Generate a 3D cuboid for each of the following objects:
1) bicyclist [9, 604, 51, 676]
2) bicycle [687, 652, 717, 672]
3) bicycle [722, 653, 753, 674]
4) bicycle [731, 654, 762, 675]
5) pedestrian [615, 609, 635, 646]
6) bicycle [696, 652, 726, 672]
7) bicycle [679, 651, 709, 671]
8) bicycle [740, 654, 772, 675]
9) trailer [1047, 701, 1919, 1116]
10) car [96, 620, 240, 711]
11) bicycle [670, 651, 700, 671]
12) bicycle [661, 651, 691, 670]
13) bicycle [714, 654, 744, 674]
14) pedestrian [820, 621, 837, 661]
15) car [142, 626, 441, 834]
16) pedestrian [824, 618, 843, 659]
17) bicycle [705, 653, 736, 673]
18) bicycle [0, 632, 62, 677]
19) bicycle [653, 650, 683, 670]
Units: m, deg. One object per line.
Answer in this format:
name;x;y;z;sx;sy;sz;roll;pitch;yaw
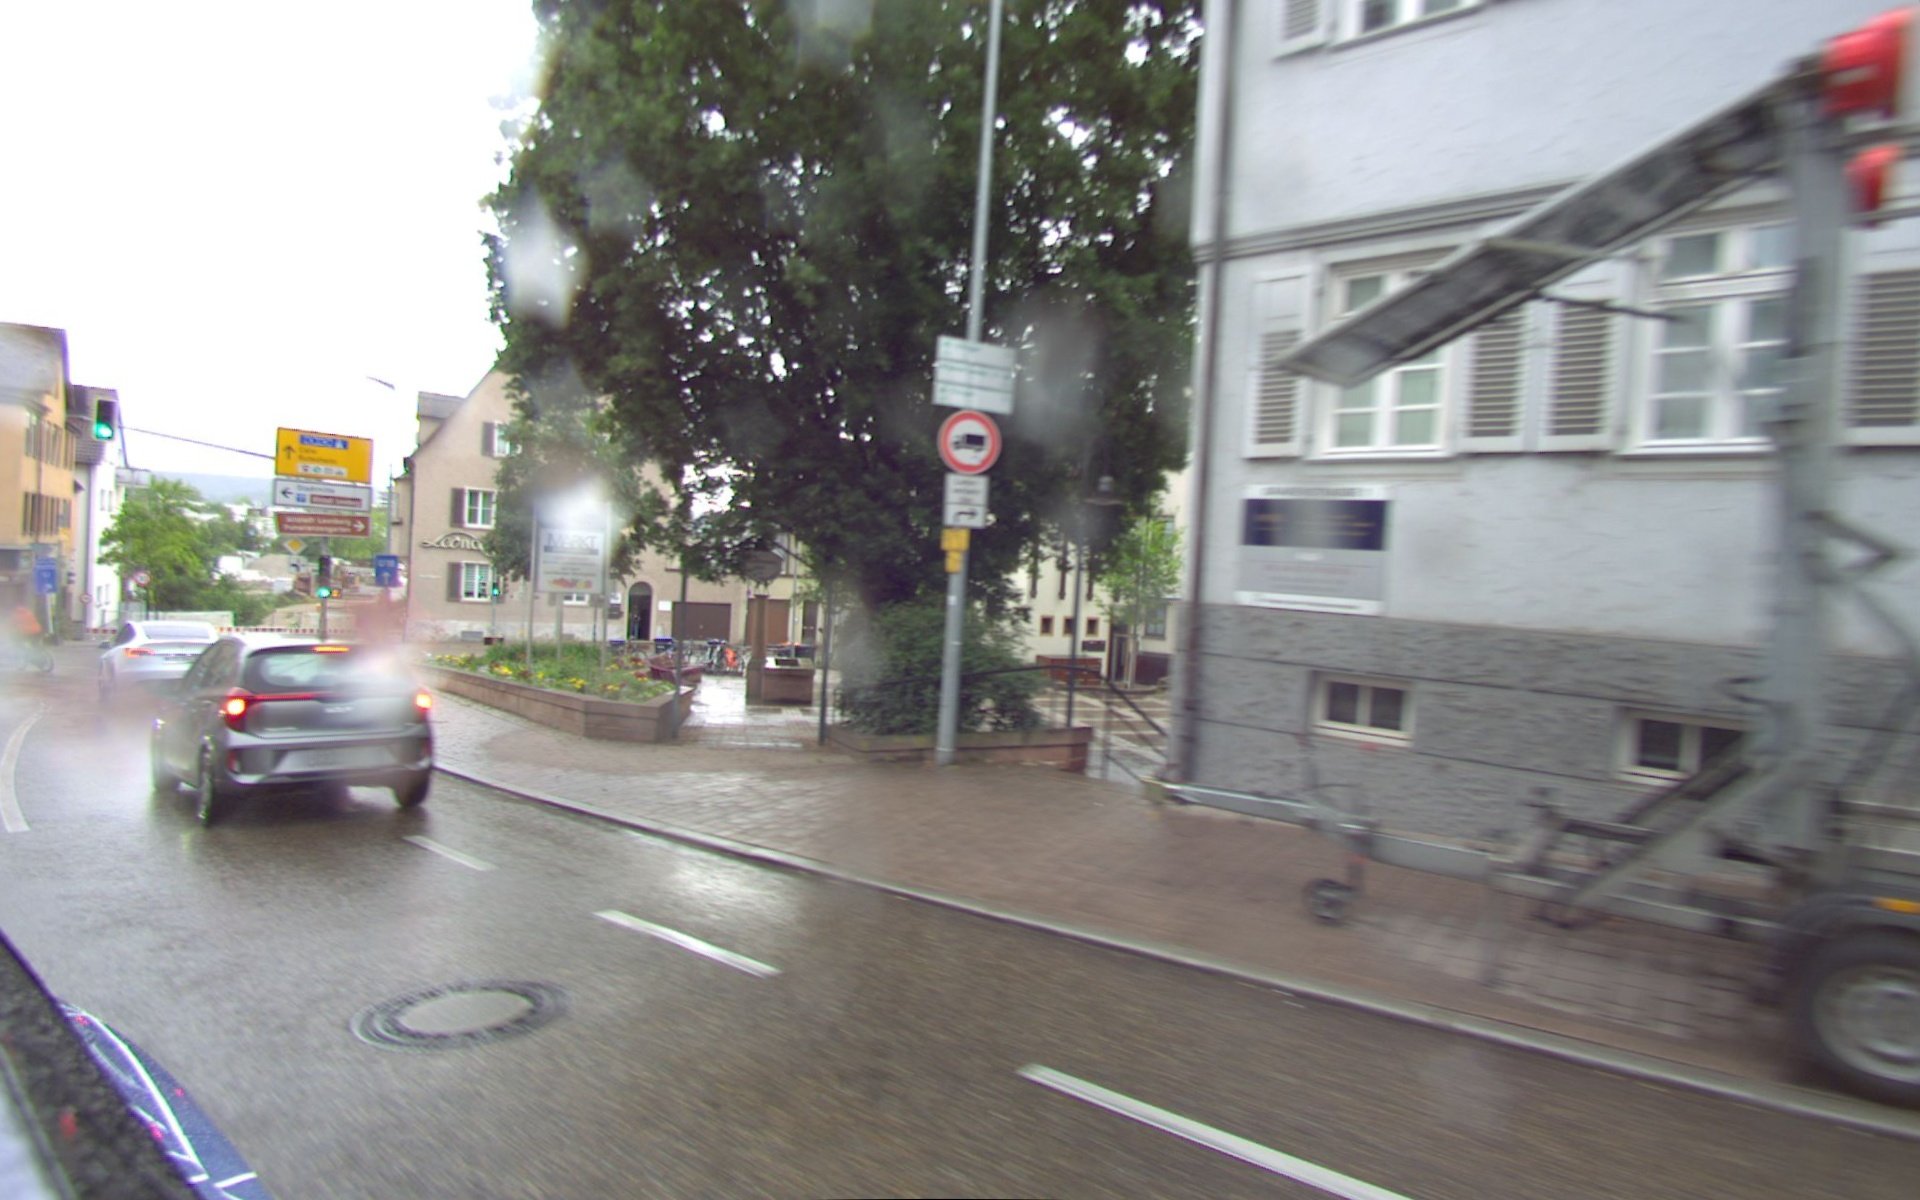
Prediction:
bicyclist;-25.692;1.100;27.963;0.566;1.949;0.686;-1;-1;26
bicycle;-8.221;1.970;32.256;0.407;0.610;0.842;-1;-3;42
bicycle;-6.824;1.946;31.064;0.407;0.610;0.842;-1;-3;42
bicycle;-6.467;1.939;30.726;0.407;0.610;0.842;-1;-3;42
pedestrian;-15.751;1.296;47.574;0.695;1.724;0.678;2;-2;-34
bicycle;-7.858;1.959;31.959;0.407;0.610;0.842;-1;-3;42
bicycle;-8.565;1.967;32.578;0.407;0.610;0.842;-1;-3;42
bicycle;-6.122;1.931;30.398;0.407;0.610;0.842;-1;-3;42
trailer;2.764;1.090;4.424;4.475;0.912;1.973;-1;0;42
car;-16.039;1.253;20.398;1.938;1.620;4.388;3;-3;-42
bicycle;-8.928;1.980;32.890;0.407;0.610;0.842;-1;-3;42
bicycle;-9.307;1.983;33.200;0.407;0.610;0.842;-1;-3;42
bicycle;-7.154;1.972;31.347;0.407;0.610;0.842;-1;-3;42
pedestrian;-6.675;2.060;51.217;0.666;2.029;0.501;2;-3;-37
car;-6.113;1.006;9.097;1.589;1.483;3.588;3;-4;-44
pedestrian;-6.316;1.915;50.635;0.665;2.029;0.709;2;-3;-36
bicycle;-7.483;1.970;31.649;0.407;0.610;0.842;-1;-3;42
bicycle;-25.847;1.496;28.044;2.124;1.190;0.660;-1;0;26
bicycle;-9.669;1.982;33.537;0.407;0.610;0.842;-1;-3;42
